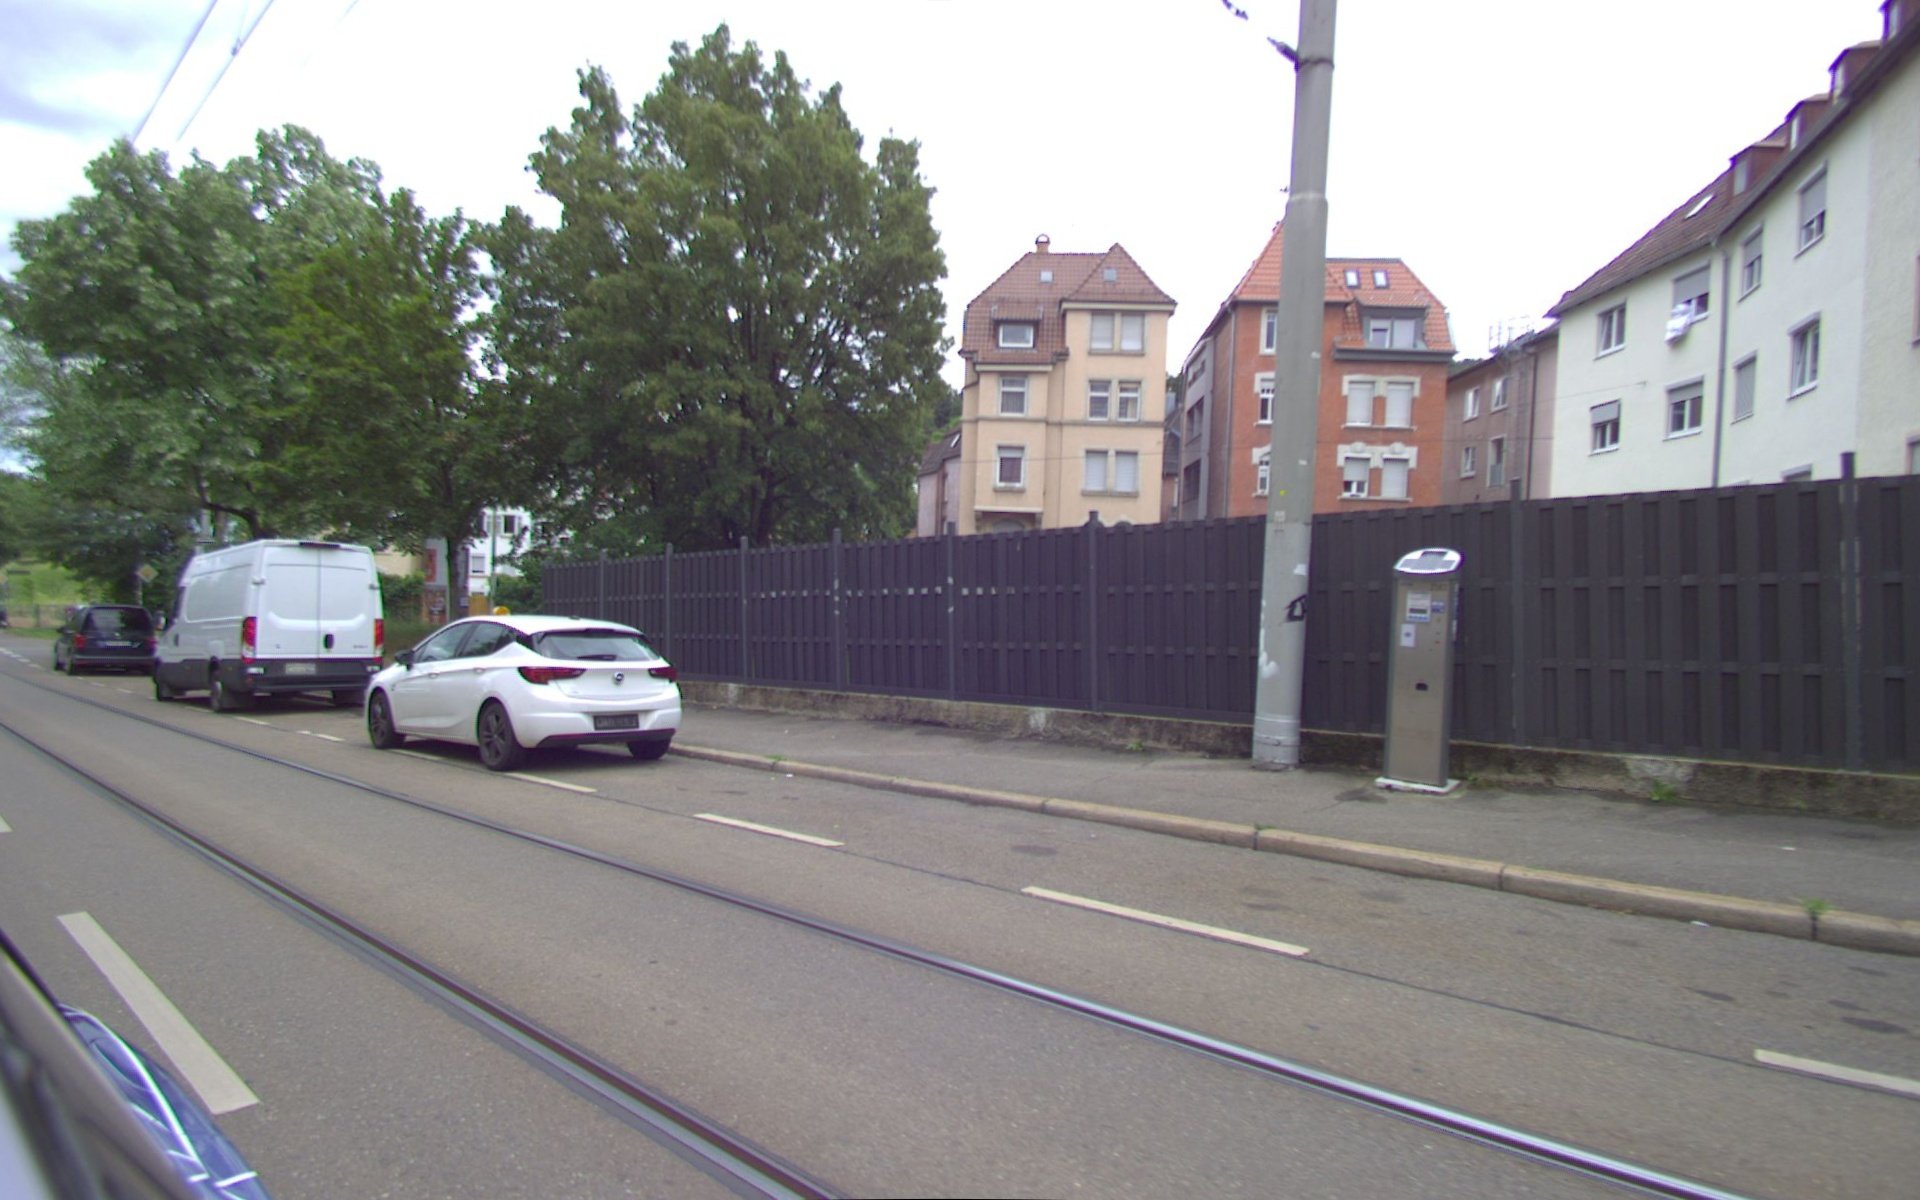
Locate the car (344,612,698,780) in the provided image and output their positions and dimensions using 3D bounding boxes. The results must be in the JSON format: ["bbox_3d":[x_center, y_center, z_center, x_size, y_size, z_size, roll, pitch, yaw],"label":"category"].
[{"bbox_3d":[-4.739,0.884,10.621,4.311,1.413,1.701,-1,-4,41],"label":"car"}]

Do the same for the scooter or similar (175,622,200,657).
[{"bbox_3d":[-25.668,1.318,33.601,1.717,1.154,0.308,-3,-1,41],"label":"scooter or similar"}]

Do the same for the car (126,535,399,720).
[{"bbox_3d":[-12.027,0.489,17.235,6.213,2.627,2.136,-1,-3,40],"label":"car"}]

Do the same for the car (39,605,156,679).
[{"bbox_3d":[-23.041,1.098,26.980,4.668,1.789,1.743,-1,-4,43],"label":"car"}]

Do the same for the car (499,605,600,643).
[{"bbox_3d":[-17.482,1.019,43.204,3.567,1.489,1.748,-1,1,5],"label":"car"}]
